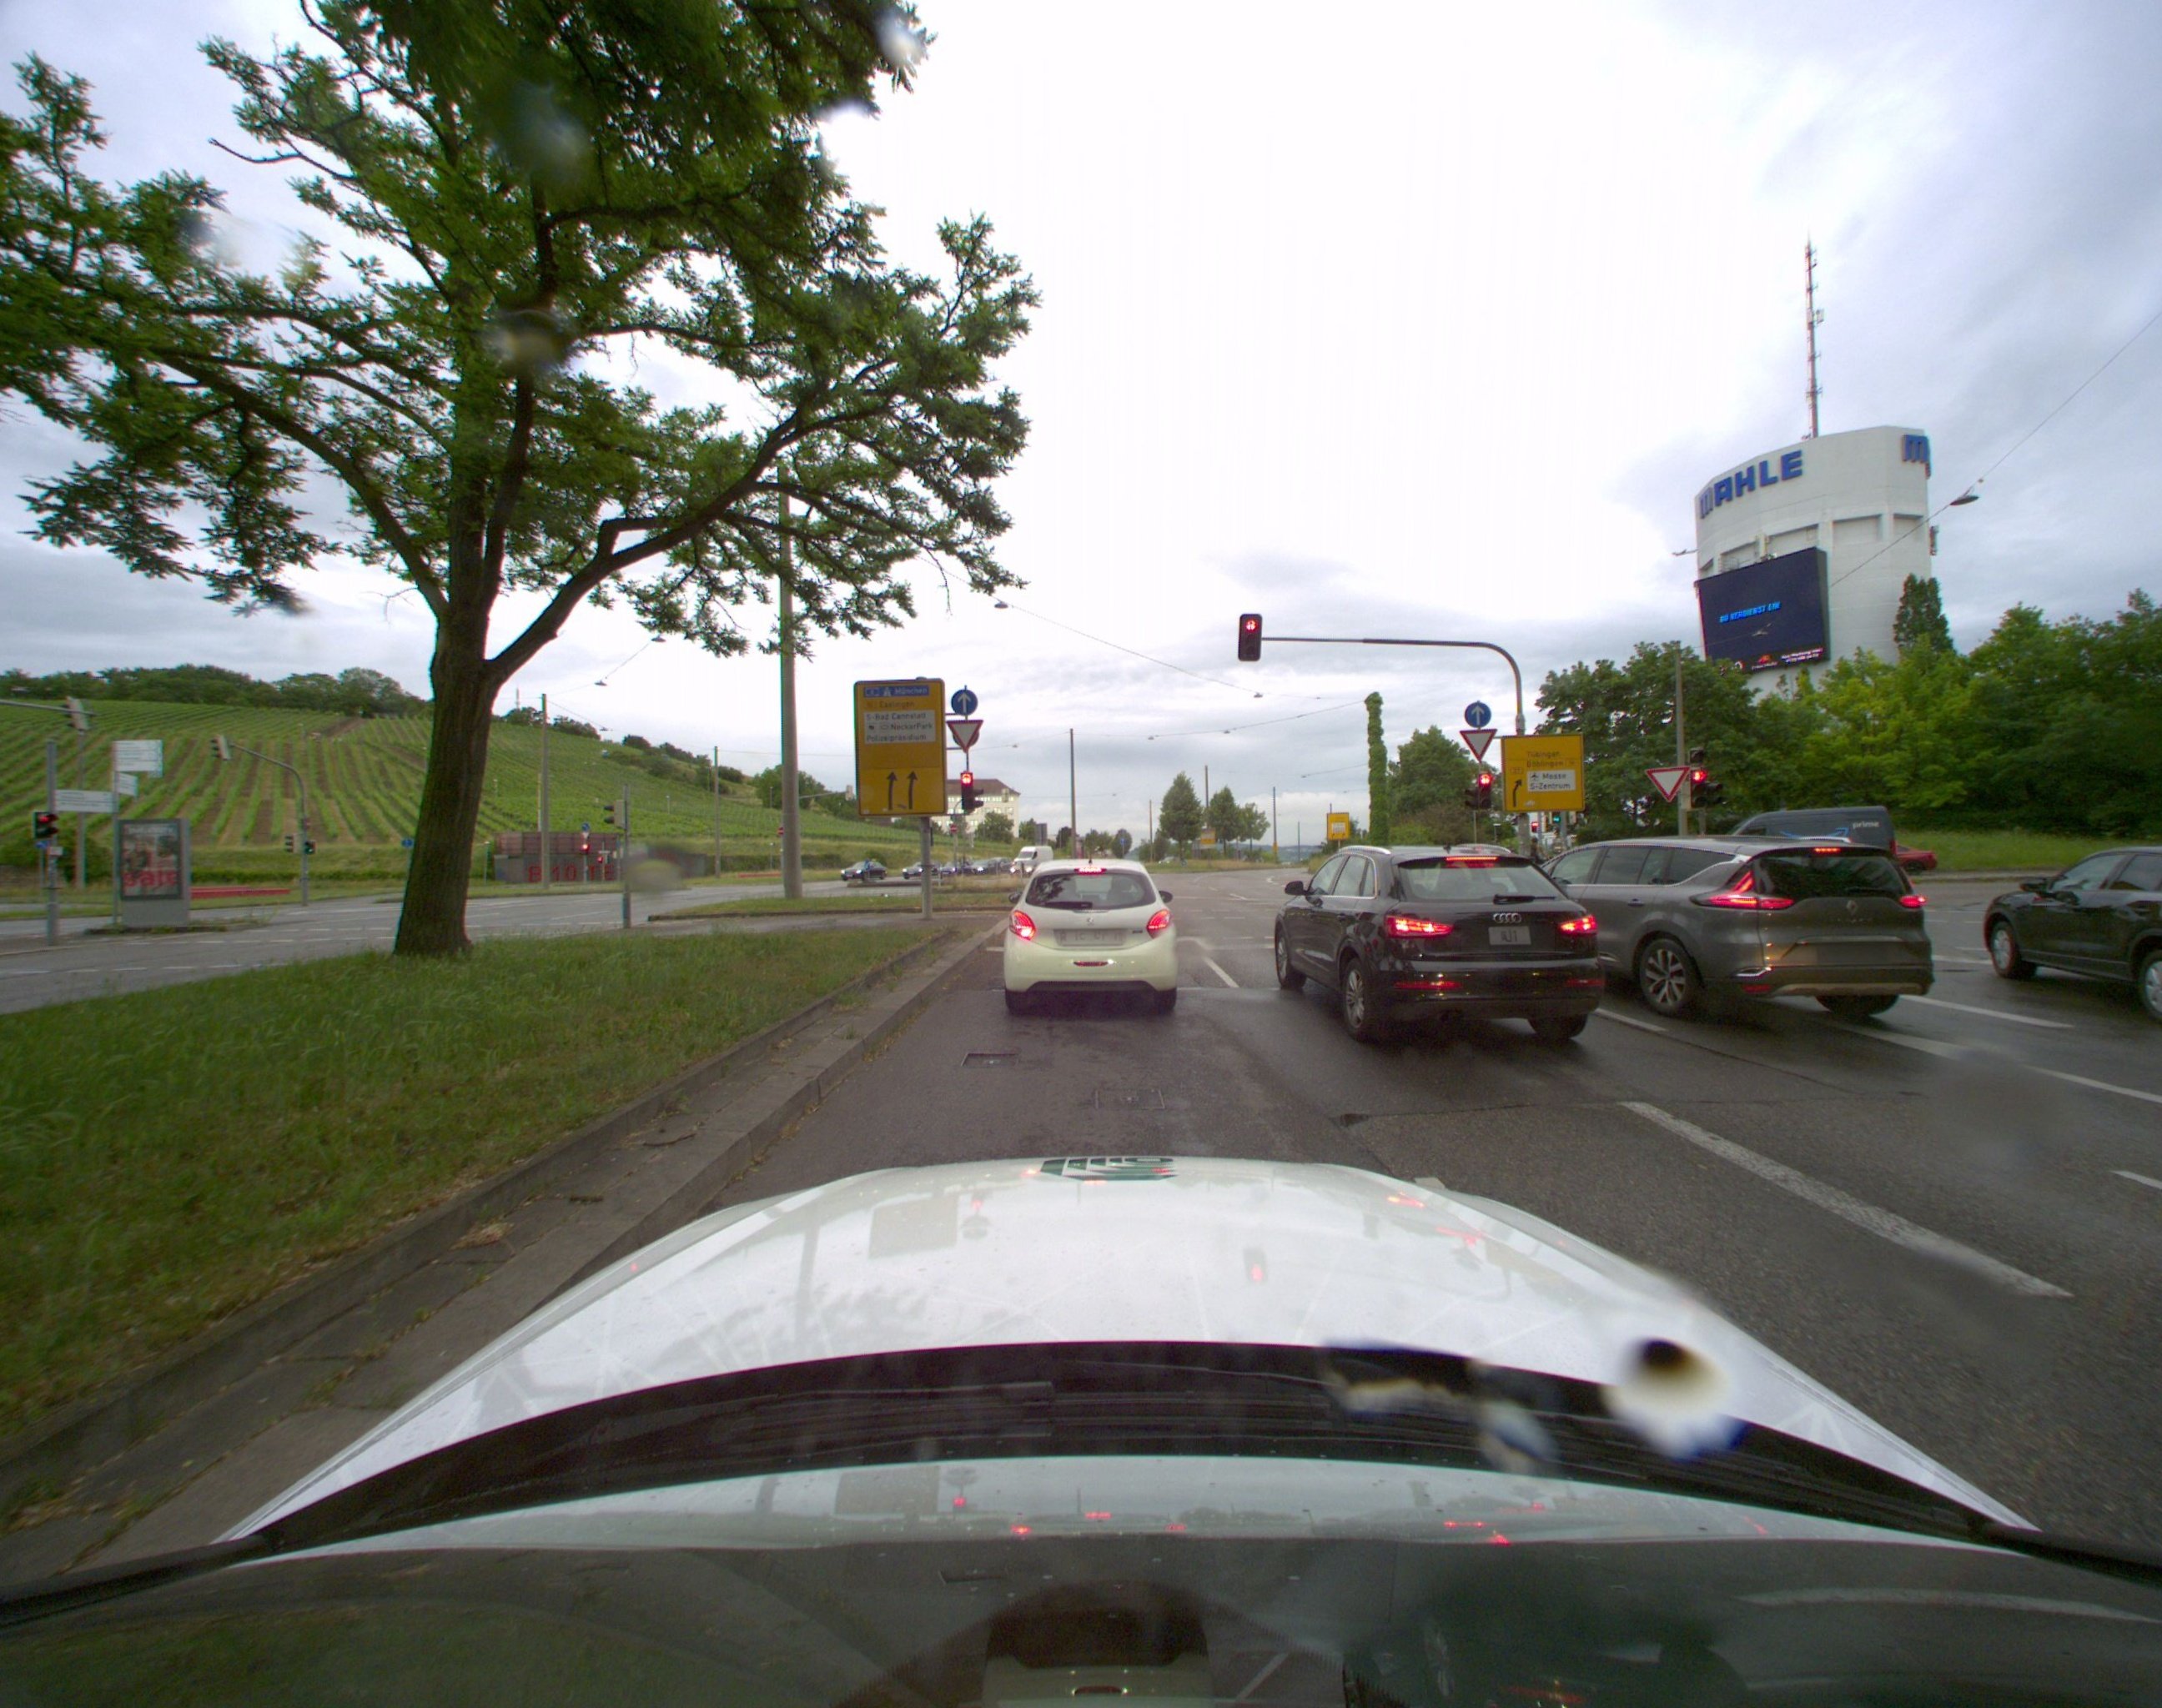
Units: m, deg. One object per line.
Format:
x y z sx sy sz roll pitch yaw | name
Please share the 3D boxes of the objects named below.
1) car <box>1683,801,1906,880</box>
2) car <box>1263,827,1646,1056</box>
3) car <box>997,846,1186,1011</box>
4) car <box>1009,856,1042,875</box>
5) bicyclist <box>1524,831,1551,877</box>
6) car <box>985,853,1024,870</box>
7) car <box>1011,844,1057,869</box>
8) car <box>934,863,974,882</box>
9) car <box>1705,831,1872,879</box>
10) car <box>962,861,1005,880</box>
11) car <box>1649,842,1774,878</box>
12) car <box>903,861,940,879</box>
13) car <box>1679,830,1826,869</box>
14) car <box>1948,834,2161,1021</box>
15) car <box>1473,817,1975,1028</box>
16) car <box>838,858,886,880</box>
26.540 -0.411 30.658 5.953 2.741 2.094 -1 -2 28 | car
3.105 0.637 7.817 1.877 1.595 4.114 1 -1 1 | car
0.135 0.693 9.429 1.712 1.489 4.001 0 -1 1 | car
-4.323 0.923 64.280 1.766 1.425 4.382 -2 -1 7 | car
15.934 0.007 28.429 0.801 1.584 1.029 0 -1 28 | bicyclist
-7.501 0.771 80.052 1.976 1.575 4.218 0 -1 24 | car
-4.967 0.330 87.222 1.975 2.559 6.206 0 -1 27 | car
-9.755 1.429 62.844 1.774 1.395 3.894 0 -1 12 | car
24.404 0.073 28.293 4.012 1.569 1.881 -1 -2 25 | car
-8.224 1.358 68.942 1.887 1.489 4.912 0 -1 15 | car
28.488 0.280 36.950 4.094 1.564 1.881 -1 -1 22 | car
-12.752 1.295 65.233 1.777 1.395 3.889 0 -1 7 | car
27.387 -0.151 33.401 4.327 1.520 1.739 -1 -1 25 | car
10.355 0.571 7.567 1.847 1.498 4.177 -3 -1 28 | car
6.240 0.521 8.786 1.859 1.674 4.565 0 1 0 | car
-16.862 1.136 62.938 1.818 1.623 4.577 1 -1 9 | car
